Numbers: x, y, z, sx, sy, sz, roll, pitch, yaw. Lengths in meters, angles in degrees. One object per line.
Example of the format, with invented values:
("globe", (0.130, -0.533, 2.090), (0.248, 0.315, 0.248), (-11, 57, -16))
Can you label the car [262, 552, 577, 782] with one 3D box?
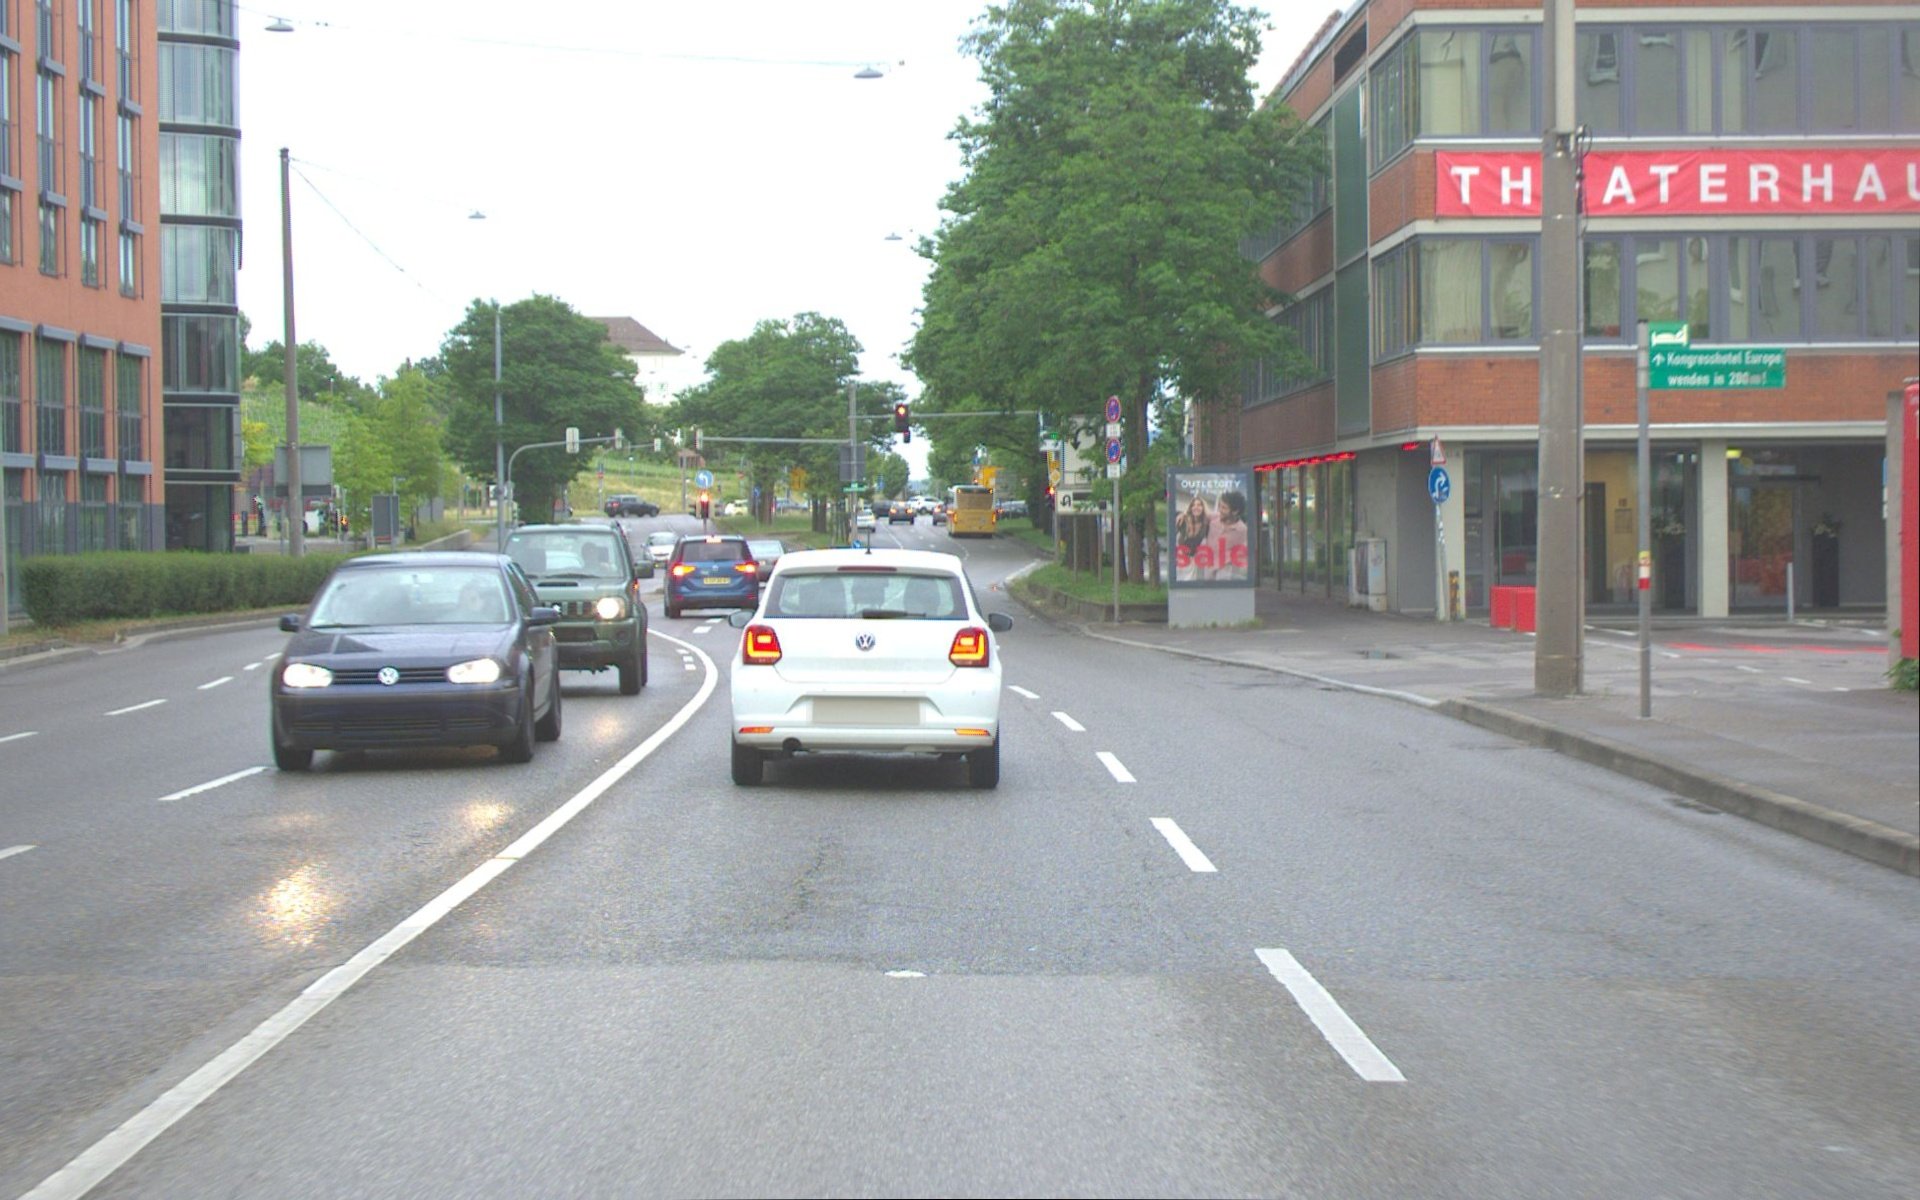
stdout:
("car", (-3.749, 0.414, 24.389), (1.659, 1.481, 3.820), (0, 1, -1))

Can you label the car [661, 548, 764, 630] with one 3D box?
("car", (-4.960, -0.246, 68.737), (1.993, 1.568, 4.001), (0, 1, -5))

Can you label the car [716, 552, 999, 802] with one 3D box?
("car", (-0.642, 0.429, 22.233), (1.671, 1.469, 3.780), (0, 1, -1))

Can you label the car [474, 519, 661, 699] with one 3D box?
("car", (-3.900, 0.047, 34.575), (1.503, 1.661, 3.420), (-1, 2, -1))
